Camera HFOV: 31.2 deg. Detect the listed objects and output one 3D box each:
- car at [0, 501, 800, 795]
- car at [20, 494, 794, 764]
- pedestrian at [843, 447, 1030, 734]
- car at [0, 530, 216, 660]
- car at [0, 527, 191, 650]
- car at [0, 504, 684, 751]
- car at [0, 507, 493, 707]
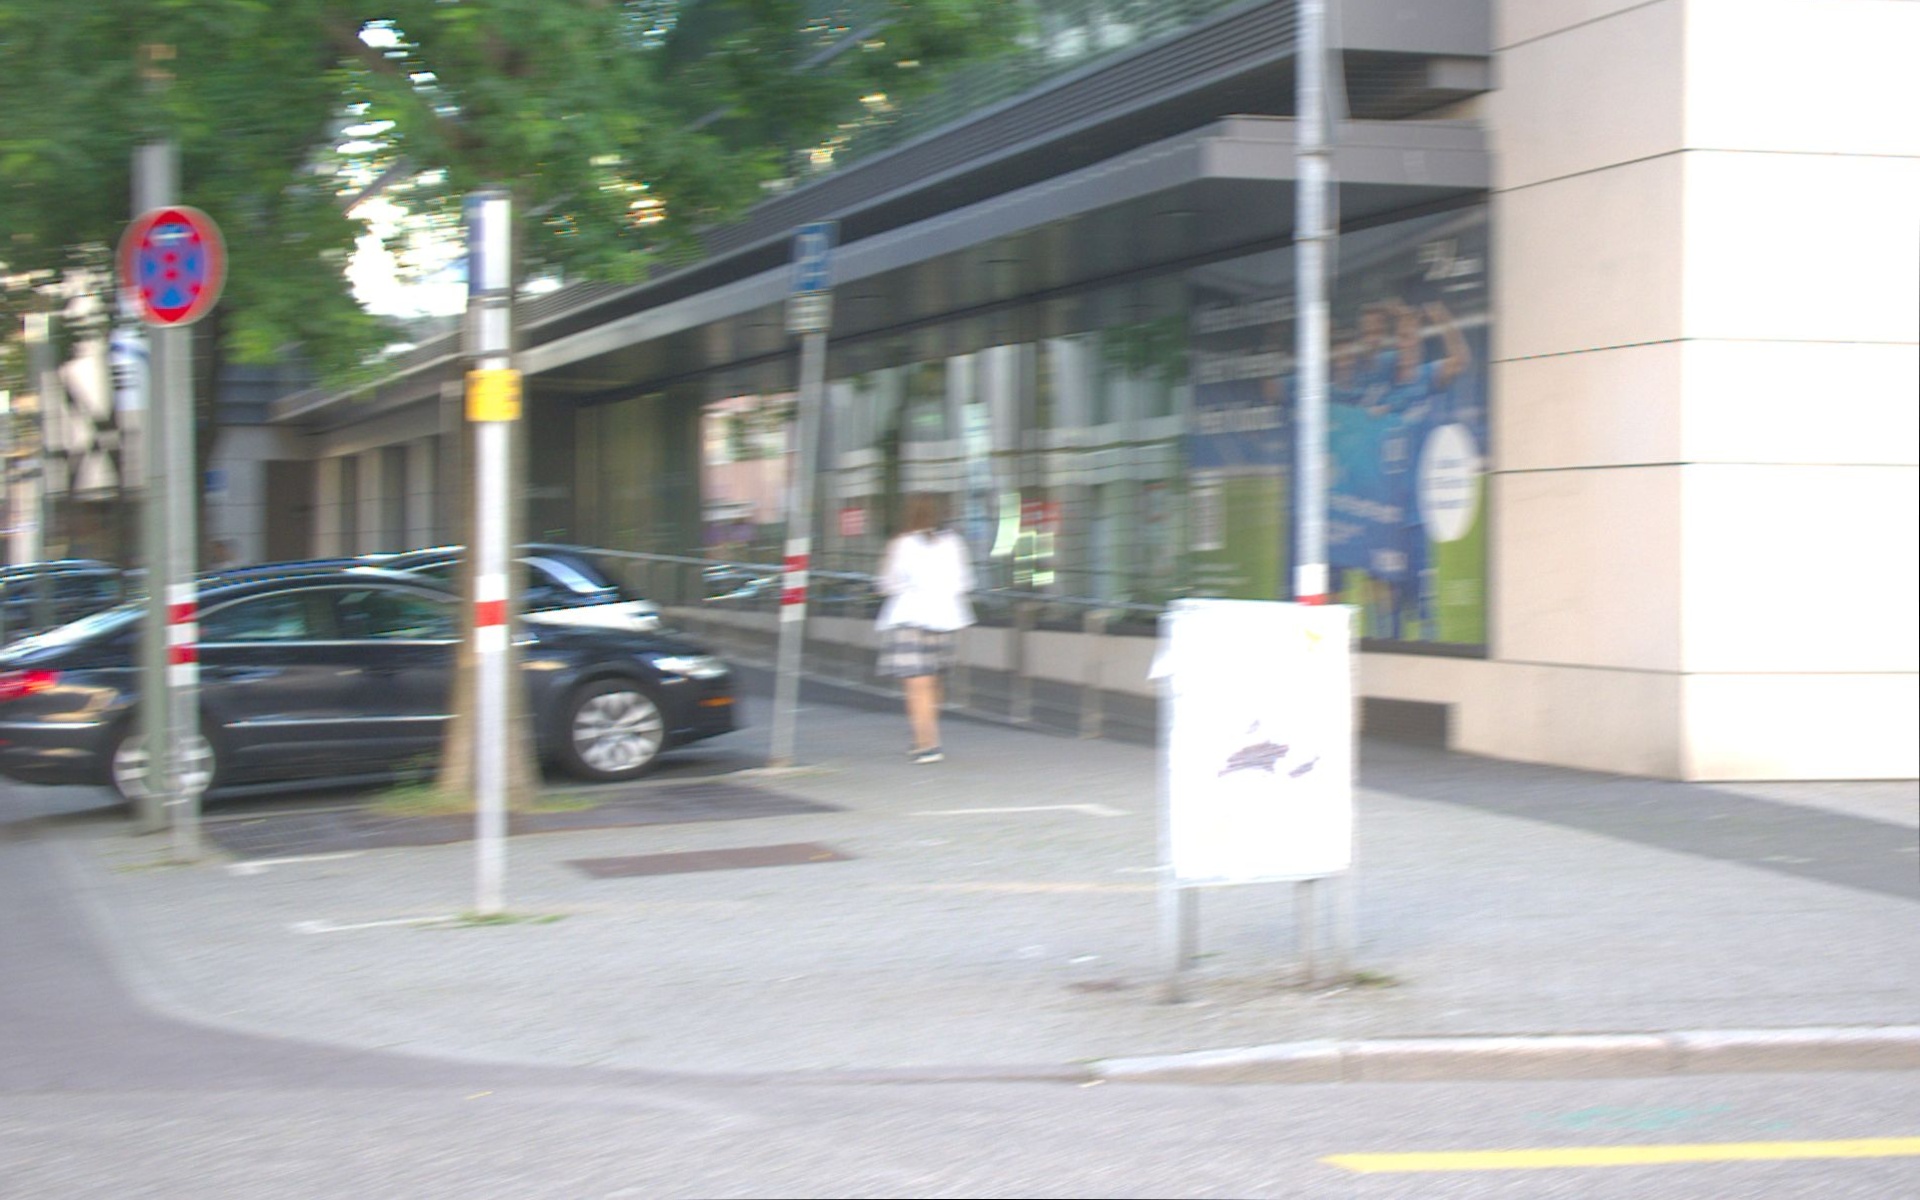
[{"bbox_3d":[-3.724,0.253,21.570,5.003,1.447,2.001,-4,2,-19],"label":"car"},{"bbox_3d":[-3.883,0.158,24.041,5.003,1.494,2.001,-4,2,-19],"label":"car"},{"bbox_3d":[-0.155,-0.065,21.292,0.905,1.700,0.834,-3,1,-15],"label":"pedestrian"},{"bbox_3d":[-12.287,-0.003,44.291,5.003,1.494,2.001,-4,2,-19],"label":"car"},{"bbox_3d":[-13.146,-0.090,46.691,5.003,1.494,2.001,-4,2,-19],"label":"car"},{"bbox_3d":[-4.824,0.168,26.215,5.003,1.494,2.001,-4,2,-19],"label":"car"},{"bbox_3d":[-6.933,0.053,31.101,5.003,1.494,2.001,-4,2,-19],"label":"car"}]
